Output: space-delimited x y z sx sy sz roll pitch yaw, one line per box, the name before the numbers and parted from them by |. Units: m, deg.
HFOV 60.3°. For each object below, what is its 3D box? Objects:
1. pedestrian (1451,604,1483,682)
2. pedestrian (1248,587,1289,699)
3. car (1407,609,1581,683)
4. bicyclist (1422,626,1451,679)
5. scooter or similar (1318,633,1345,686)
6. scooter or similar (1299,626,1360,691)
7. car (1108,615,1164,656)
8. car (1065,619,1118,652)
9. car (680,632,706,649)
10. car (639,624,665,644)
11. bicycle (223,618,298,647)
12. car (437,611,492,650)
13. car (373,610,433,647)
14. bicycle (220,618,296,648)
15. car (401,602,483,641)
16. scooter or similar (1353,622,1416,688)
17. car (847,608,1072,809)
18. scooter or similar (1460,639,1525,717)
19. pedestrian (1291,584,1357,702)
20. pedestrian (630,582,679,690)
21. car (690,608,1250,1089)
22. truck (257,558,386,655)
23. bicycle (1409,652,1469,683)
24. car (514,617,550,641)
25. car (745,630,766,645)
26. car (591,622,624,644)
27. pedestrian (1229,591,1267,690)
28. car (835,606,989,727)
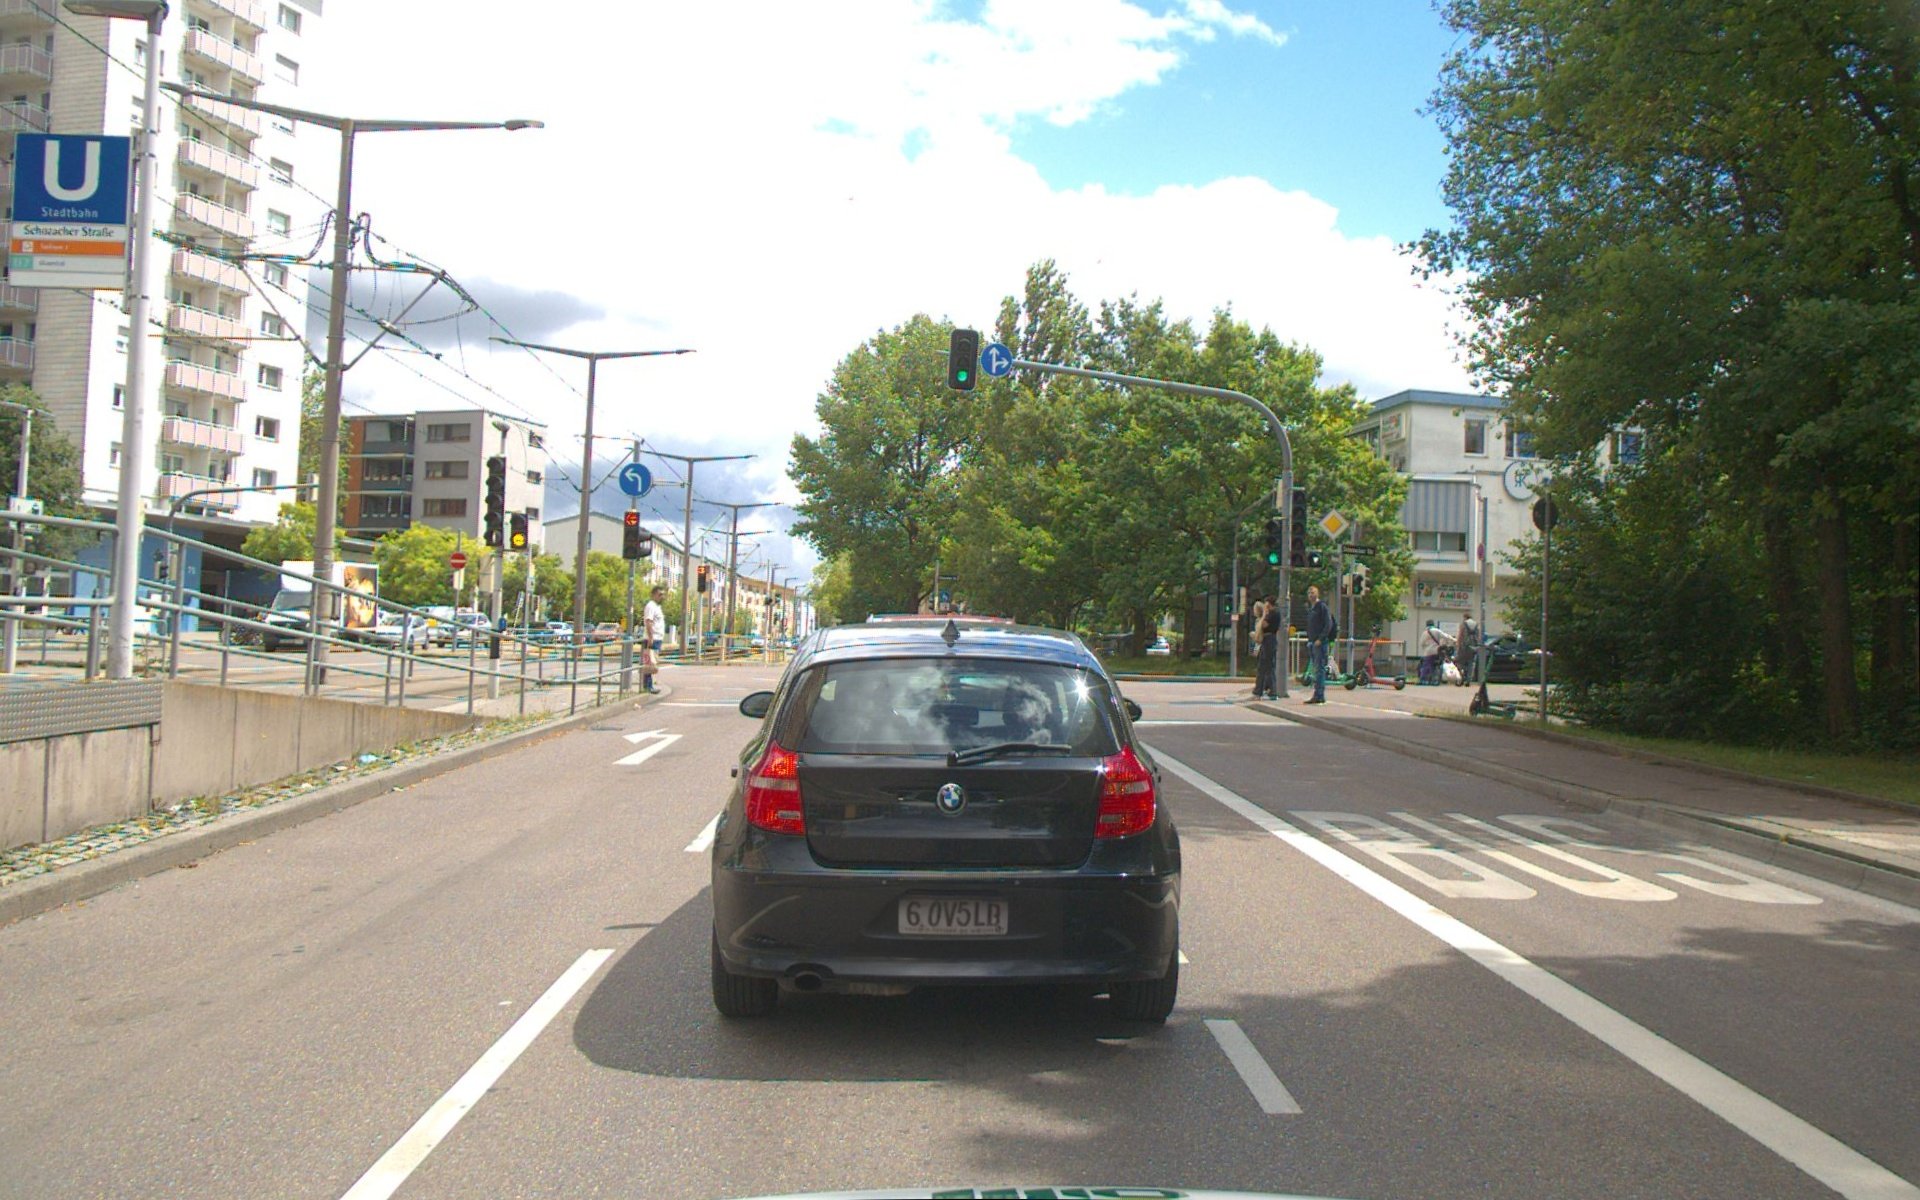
pedestrian | 11.594 0.979 37.819 0.644 1.743 0.461 1 -1 25
pedestrian | 5.343 0.731 28.623 0.622 1.909 0.518 1 -1 5
car | 15.646 1.338 48.558 4.450 2.049 1.996 1 -1 -8
bicyclist | 10.827 1.188 37.587 0.493 1.177 0.398 1 -1 -17
scooter or similar | 7.865 1.244 34.993 0.536 1.082 1.263 1 0 13
scooter or similar | 7.379 1.162 33.040 1.087 1.257 0.539 1 -1 1
car | 8.466 1.681 79.874 1.694 1.904 3.991 2 -1 -9
car | 7.168 1.946 90.755 1.830 1.691 3.988 2 -1 -12
car | -25.651 3.911 159.036 1.617 1.561 3.872 1 -1 2
car | -26.114 2.872 140.293 1.618 1.561 3.869 1 -1 -2
bicycle | -26.543 1.240 62.818 2.528 1.026 0.748 3 -3 -29
car | -23.713 1.435 79.284 1.559 1.787 3.773 2 -1 -2
car | -23.399 1.195 69.626 1.379 1.486 3.772 2 -1 -3
bicycle | -26.248 1.234 61.864 2.528 1.026 0.748 3 -3 -29
car | -27.838 1.180 88.888 3.893 2.009 1.630 2 -1 -43
scooter or similar | 8.723 1.117 33.991 1.127 1.294 0.555 2 -1 1
car | -0.026 0.794 13.650 1.605 1.424 3.419 1 0 -1
scooter or similar | 9.248 1.346 28.757 0.872 1.251 0.454 6 -1 -1
pedestrian | 6.050 0.712 27.526 0.988 1.909 0.798 1 -1 9
pedestrian | -5.077 0.591 27.547 0.673 1.764 0.687 1 -1 -1
car | 0.010 0.763 6.709 1.666 1.424 3.419 1 0 -1
truck | -22.719 0.253 59.232 2.237 3.172 7.311 2 -1 -5
bicycle | 10.848 1.519 37.479 0.524 0.620 1.583 3 -1 -17
car | -28.817 1.938 111.441 1.559 1.500 3.773 2 -1 -2
car | -21.547 3.962 174.292 1.617 1.561 3.871 1 -1 0
car | -25.448 2.378 119.543 1.618 1.561 3.869 1 -1 -2
pedestrian | 5.295 0.738 30.440 0.622 1.797 0.518 1 -1 5
car | -0.619 0.825 22.542 1.862 1.447 4.538 1 0 -1
